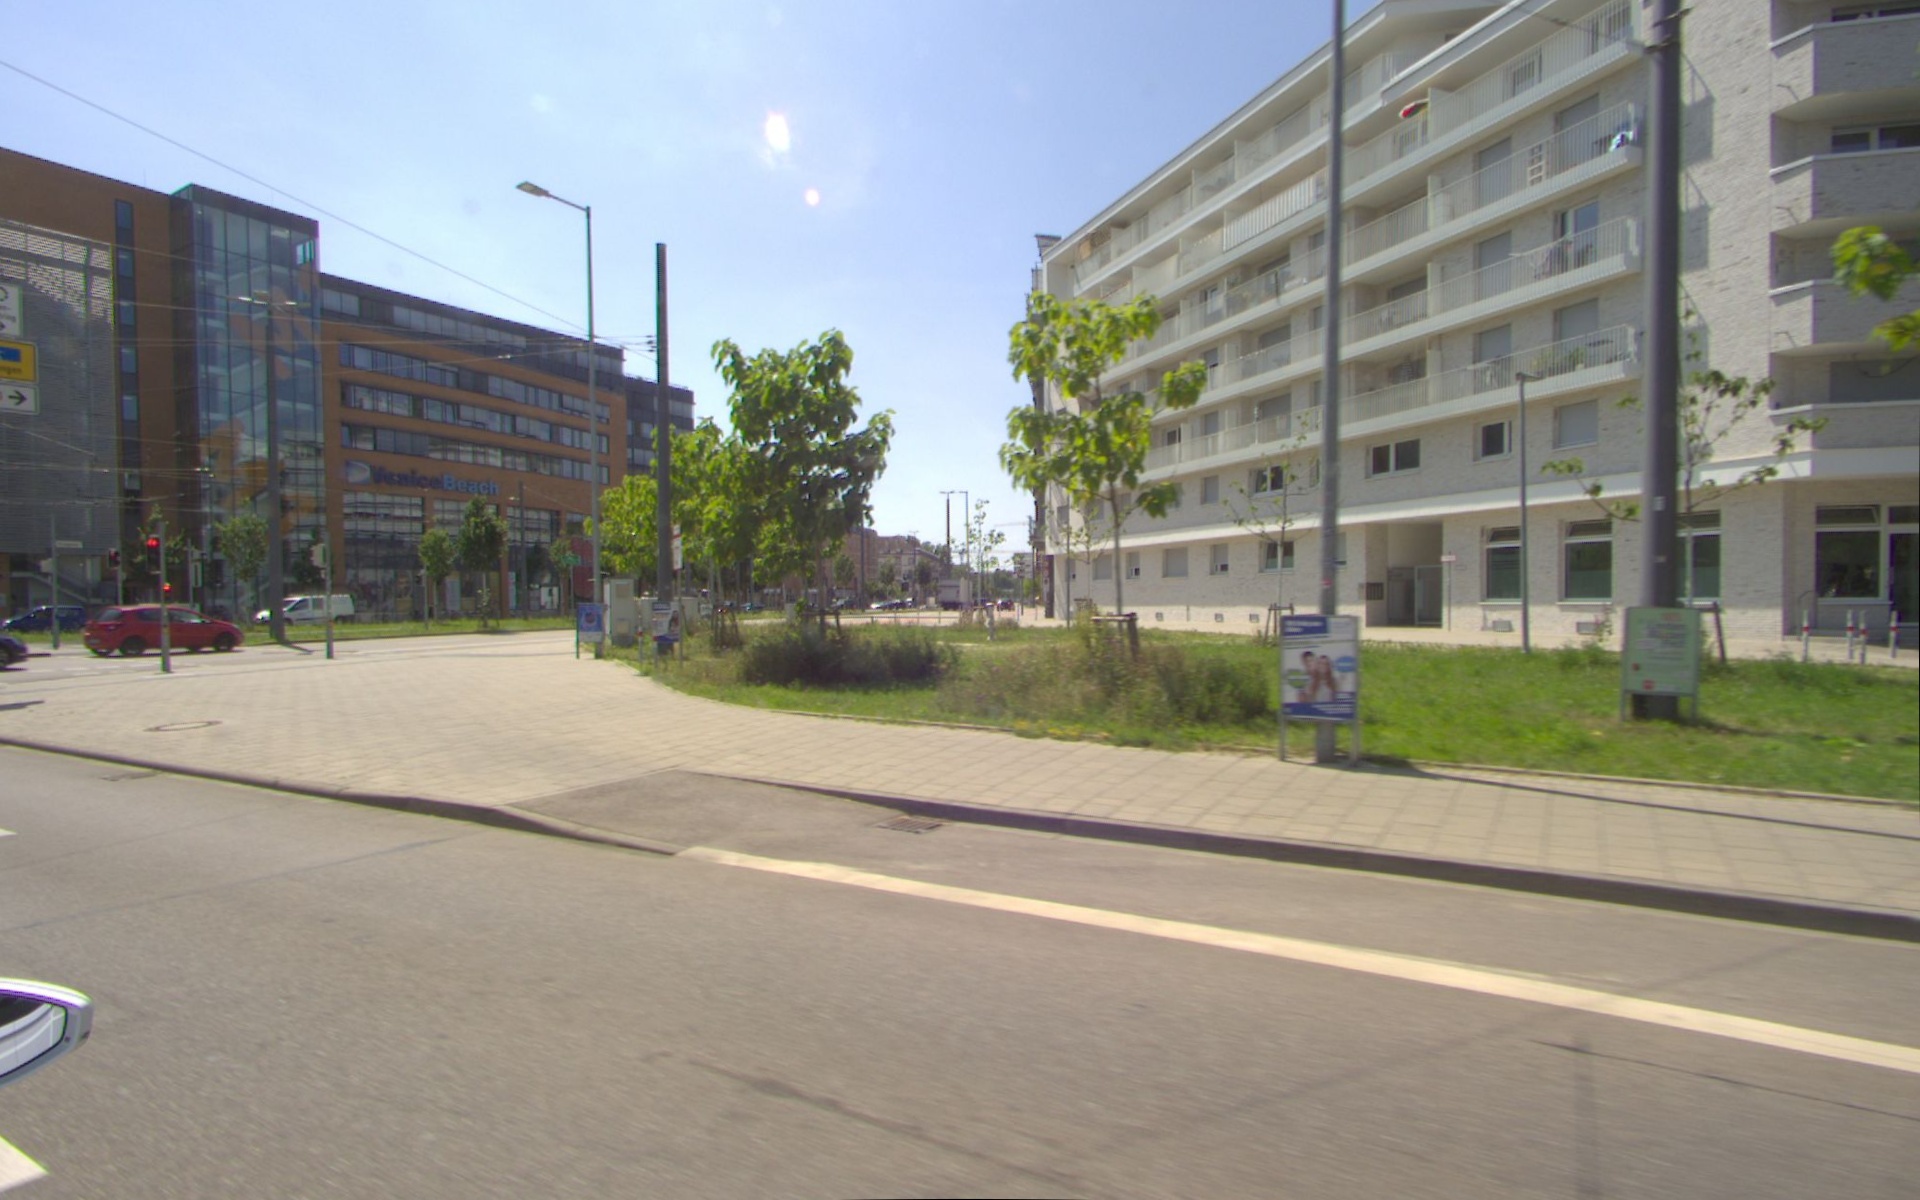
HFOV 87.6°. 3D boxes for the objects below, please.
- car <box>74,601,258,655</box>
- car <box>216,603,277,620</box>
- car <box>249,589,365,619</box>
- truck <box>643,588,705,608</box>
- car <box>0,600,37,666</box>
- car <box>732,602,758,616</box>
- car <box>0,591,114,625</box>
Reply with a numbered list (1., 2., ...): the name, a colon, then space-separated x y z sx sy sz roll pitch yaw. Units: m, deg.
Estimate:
1. car: -24.373 0.819 30.934 1.810 1.528 4.131 1 0 20
2. car: -46.664 0.770 65.535 1.329 1.049 2.991 1 0 28
3. car: -37.959 0.251 58.362 1.967 1.690 5.463 1 0 25
4. truck: -43.390 -0.329 151.941 9.064 2.846 1.999 1 0 11
5. car: -24.248 0.797 22.720 1.812 1.528 4.526 1 1 24
6. car: -23.970 1.003 111.910 1.651 1.550 3.999 1 0 6
7. car: -43.053 0.390 47.591 1.852 1.559 3.983 1 0 29
